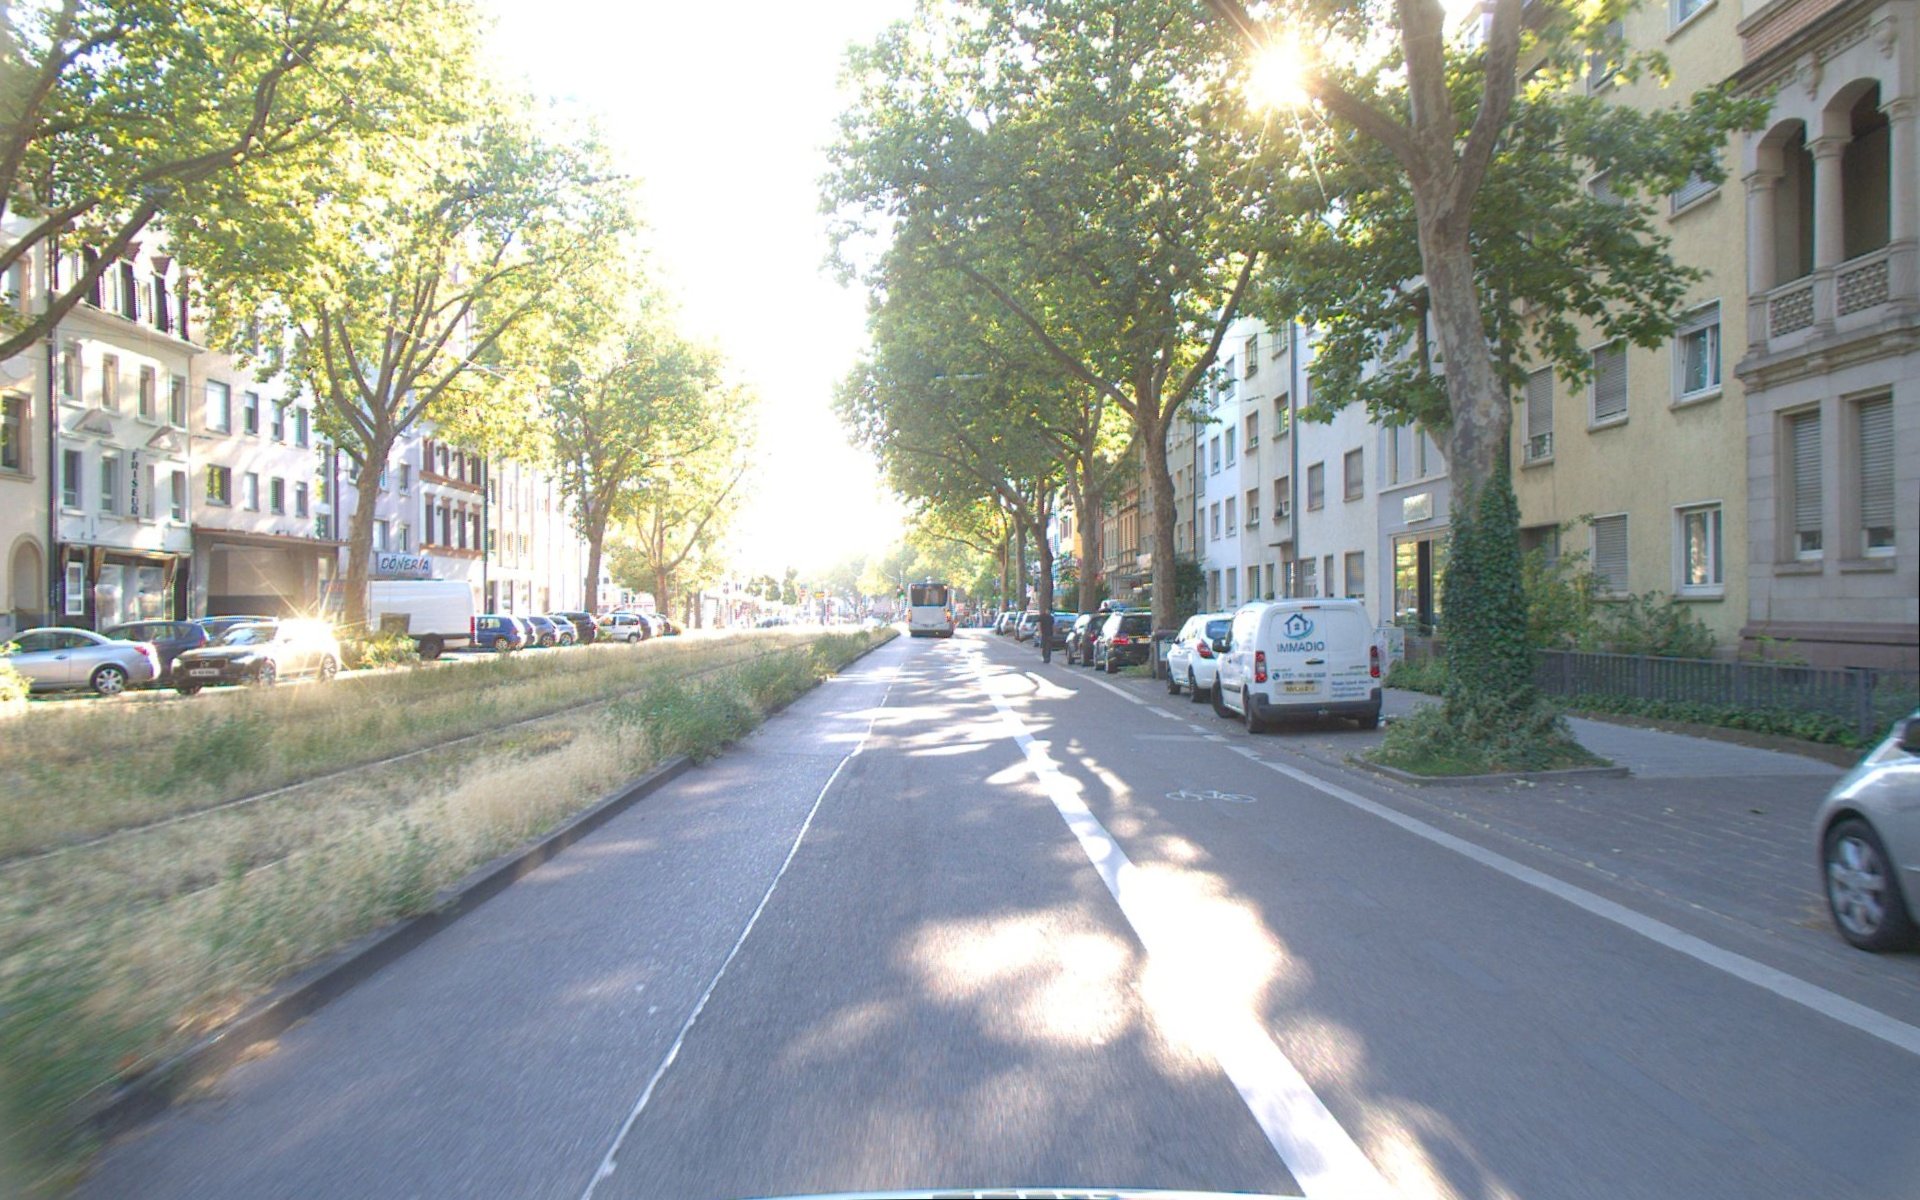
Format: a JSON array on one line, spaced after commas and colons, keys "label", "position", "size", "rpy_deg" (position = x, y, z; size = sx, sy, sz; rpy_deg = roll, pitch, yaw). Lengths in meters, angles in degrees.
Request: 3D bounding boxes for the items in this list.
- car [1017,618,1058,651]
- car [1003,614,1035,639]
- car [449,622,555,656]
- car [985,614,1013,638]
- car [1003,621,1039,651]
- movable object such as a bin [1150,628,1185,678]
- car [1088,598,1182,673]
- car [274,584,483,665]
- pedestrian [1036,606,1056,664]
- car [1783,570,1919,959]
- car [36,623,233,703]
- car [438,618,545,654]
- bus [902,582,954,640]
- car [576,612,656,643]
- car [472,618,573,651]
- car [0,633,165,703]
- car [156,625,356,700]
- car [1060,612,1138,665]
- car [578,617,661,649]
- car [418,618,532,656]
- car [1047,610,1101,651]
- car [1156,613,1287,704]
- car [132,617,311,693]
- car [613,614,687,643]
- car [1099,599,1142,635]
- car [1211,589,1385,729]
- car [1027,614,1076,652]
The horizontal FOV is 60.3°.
[{"label": "car", "position": [3.895, 1.718, 83.512], "size": [1.745, 1.542, 3.999], "rpy_deg": [-1, 0, -1]}, {"label": "car", "position": [3.755, 1.665, 105.744], "size": [1.745, 1.542, 3.999], "rpy_deg": [-1, 0, -1]}, {"label": "car", "position": [-20.623, 1.742, 74.488], "size": [4.275, 1.484, 1.830], "rpy_deg": [1, -2, -42]}, {"label": "car", "position": [2.620, 1.736, 112.503], "size": [1.745, 1.542, 3.999], "rpy_deg": [-1, 0, -1]}, {"label": "car", "position": [3.333, 1.966, 91.623], "size": [1.745, 1.542, 3.999], "rpy_deg": [-1, 0, -1]}, {"label": "movable object such as a bin", "position": [4.629, 1.179, 36.939], "size": [0.660, 1.064, 0.879], "rpy_deg": [-1, 1, -1]}, {"label": "car", "position": [4.452, 0.918, 42.754], "size": [1.709, 1.801, 4.985], "rpy_deg": [0, -1, -2]}, {"label": "car", "position": [-20.433, 0.837, 58.229], "size": [6.841, 2.725, 2.171], "rpy_deg": [0, -1, -23]}, {"label": "pedestrian", "position": [2.696, 1.091, 51.865], "size": [0.565, 1.811, 0.514], "rpy_deg": [-1, -1, -1]}, {"label": "car", "position": [5.102, 0.706, 6.581], "size": [1.708, 1.720, 3.851], "rpy_deg": [-1, -1, 0]}, {"label": "car", "position": [-19.499, 1.445, 39.108], "size": [3.951, 1.580, 1.835], "rpy_deg": [-3, 1, -33]}, {"label": "car", "position": [-20.020, 1.543, 70.679], "size": [4.241, 1.484, 1.845], "rpy_deg": [0, -1, -24]}, {"label": "bus", "position": [-2.004, 0.723, 99.591], "size": [2.777, 3.292, 8.175], "rpy_deg": [0, -1, -4]}, {"label": "car", "position": [-20.144, 1.631, 96.936], "size": [4.275, 1.768, 1.830], "rpy_deg": [1, -2, -42]}, {"label": "car", "position": [-20.520, 1.603, 77.633], "size": [4.275, 1.484, 1.830], "rpy_deg": [1, -2, -42]}, {"label": "car", "position": [-18.721, 1.388, 34.235], "size": [3.950, 1.380, 1.568], "rpy_deg": [0, -1, -33]}, {"label": "car", "position": [-14.991, 1.296, 35.549], "size": [1.708, 1.485, 4.928], "rpy_deg": [-1, -1, 7]}, {"label": "car", "position": [4.133, 1.148, 49.689], "size": [1.653, 1.512, 3.995], "rpy_deg": [0, -1, -5]}, {"label": "car", "position": [-19.185, 1.861, 93.333], "size": [4.275, 1.768, 1.830], "rpy_deg": [1, -2, -42]}, {"label": "car", "position": [-19.890, 1.517, 67.977], "size": [4.216, 1.484, 1.855], "rpy_deg": [0, -1, -7]}, {"label": "car", "position": [4.496, 1.173, 65.755], "size": [1.745, 1.542, 3.999], "rpy_deg": [-1, 0, -1]}, {"label": "car", "position": [4.656, 1.003, 29.951], "size": [1.612, 1.512, 3.998], "rpy_deg": [-1, 0, -2]}, {"label": "car", "position": [-18.950, 1.382, 42.495], "size": [3.951, 1.728, 1.835], "rpy_deg": [-2, 0, -33]}, {"label": "car", "position": [-19.516, 1.770, 104.246], "size": [4.275, 1.768, 1.830], "rpy_deg": [1, -2, -42]}, {"label": "car", "position": [8.833, 0.951, 91.058], "size": [1.845, 1.892, 4.324], "rpy_deg": [-1, -1, -1]}, {"label": "car", "position": [4.728, 0.811, 23.737], "size": [1.708, 1.801, 4.395], "rpy_deg": [-1, -1, 2]}, {"label": "car", "position": [3.867, 1.394, 70.414], "size": [1.745, 1.542, 3.999], "rpy_deg": [-1, 0, -1]}]
